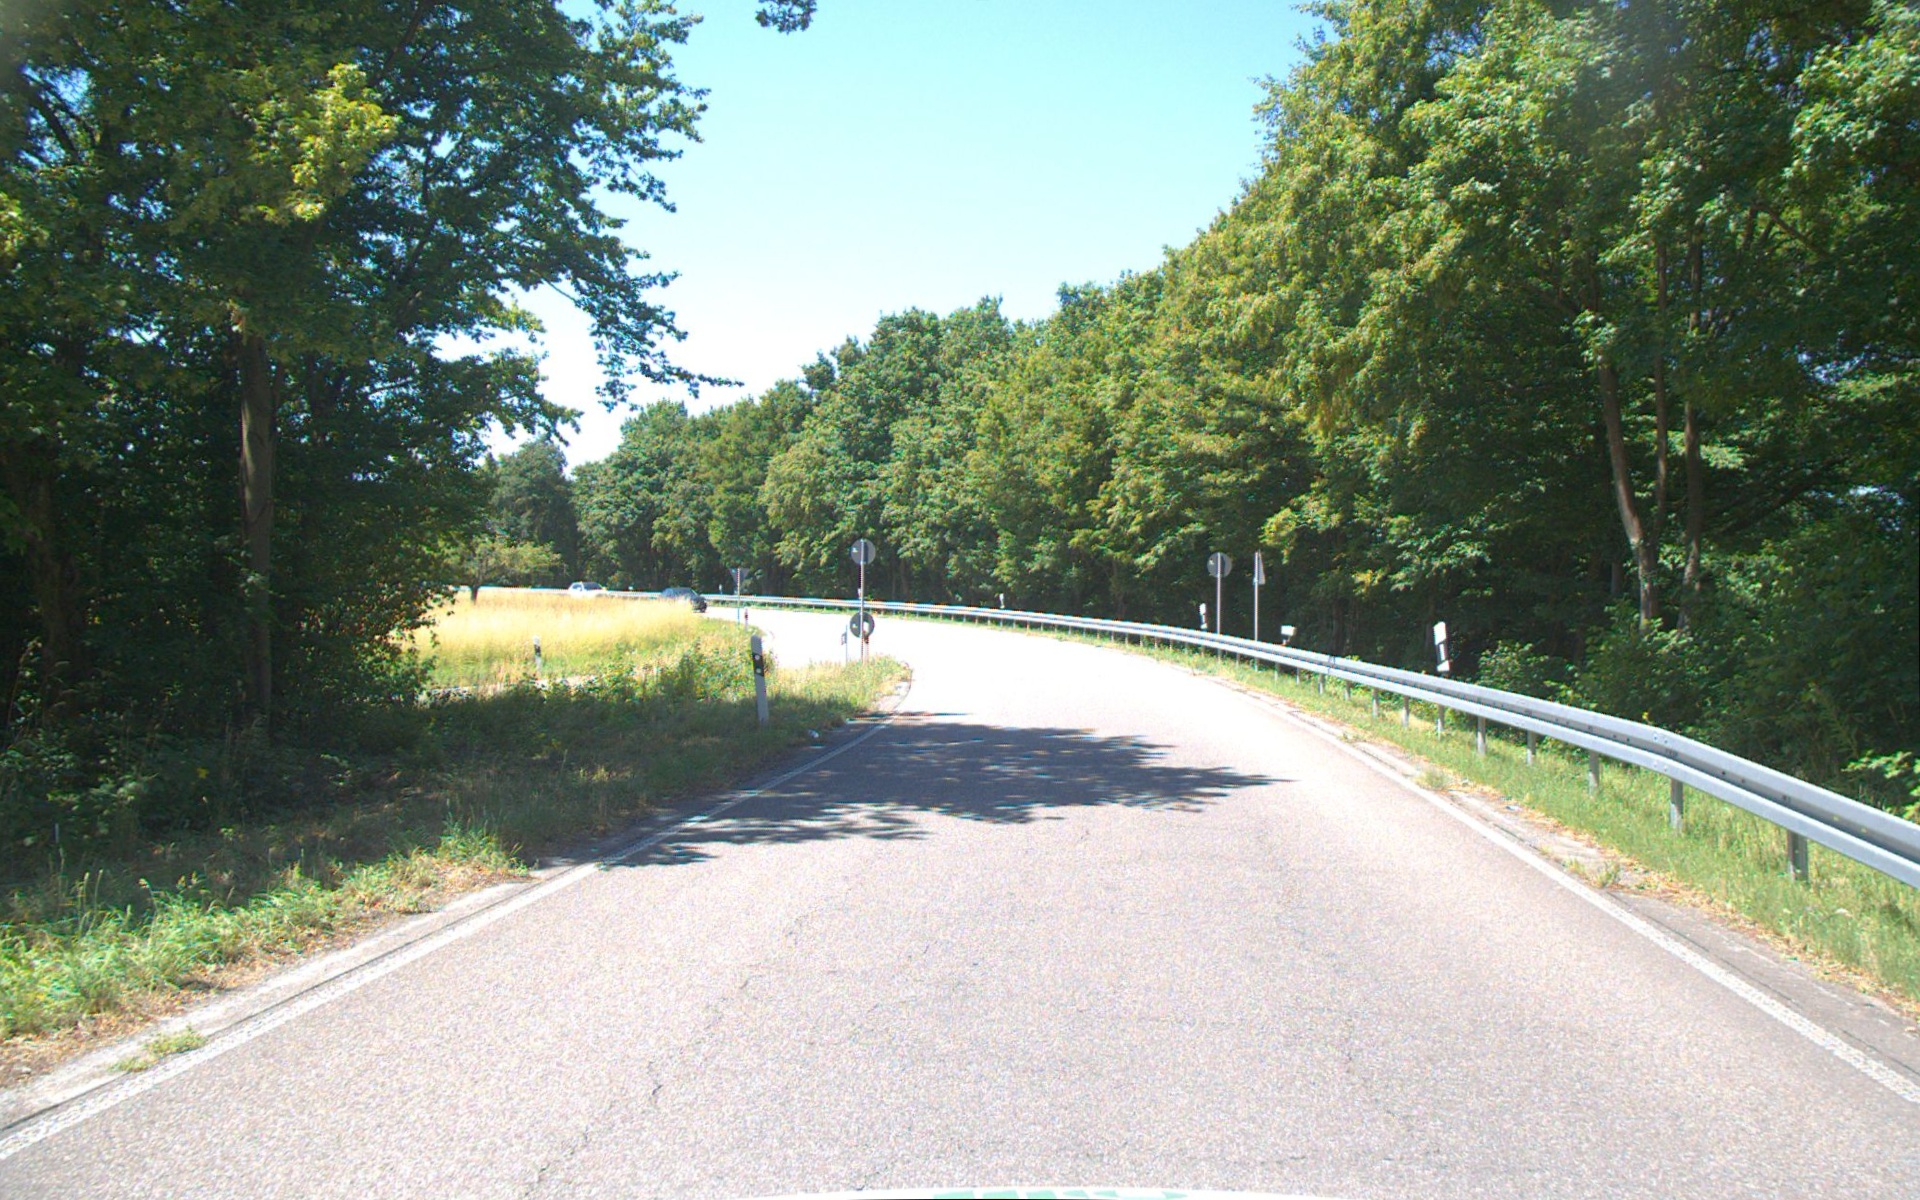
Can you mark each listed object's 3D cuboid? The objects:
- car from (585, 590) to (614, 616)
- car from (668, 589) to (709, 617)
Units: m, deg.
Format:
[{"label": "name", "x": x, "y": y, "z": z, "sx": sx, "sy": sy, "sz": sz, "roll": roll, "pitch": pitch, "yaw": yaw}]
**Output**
[{"label": "car", "x": -24.593, "y": 0.195, "z": 112.873, "sx": 1.791, "sy": 1.618, "sz": 4.204, "roll": -4, "pitch": 1, "yaw": -12}, {"label": "car", "x": -16.091, "y": 0.161, "z": 97.923, "sx": 1.774, "sy": 1.533, "sz": 4.637, "roll": -2, "pitch": 1, "yaw": -16}]
